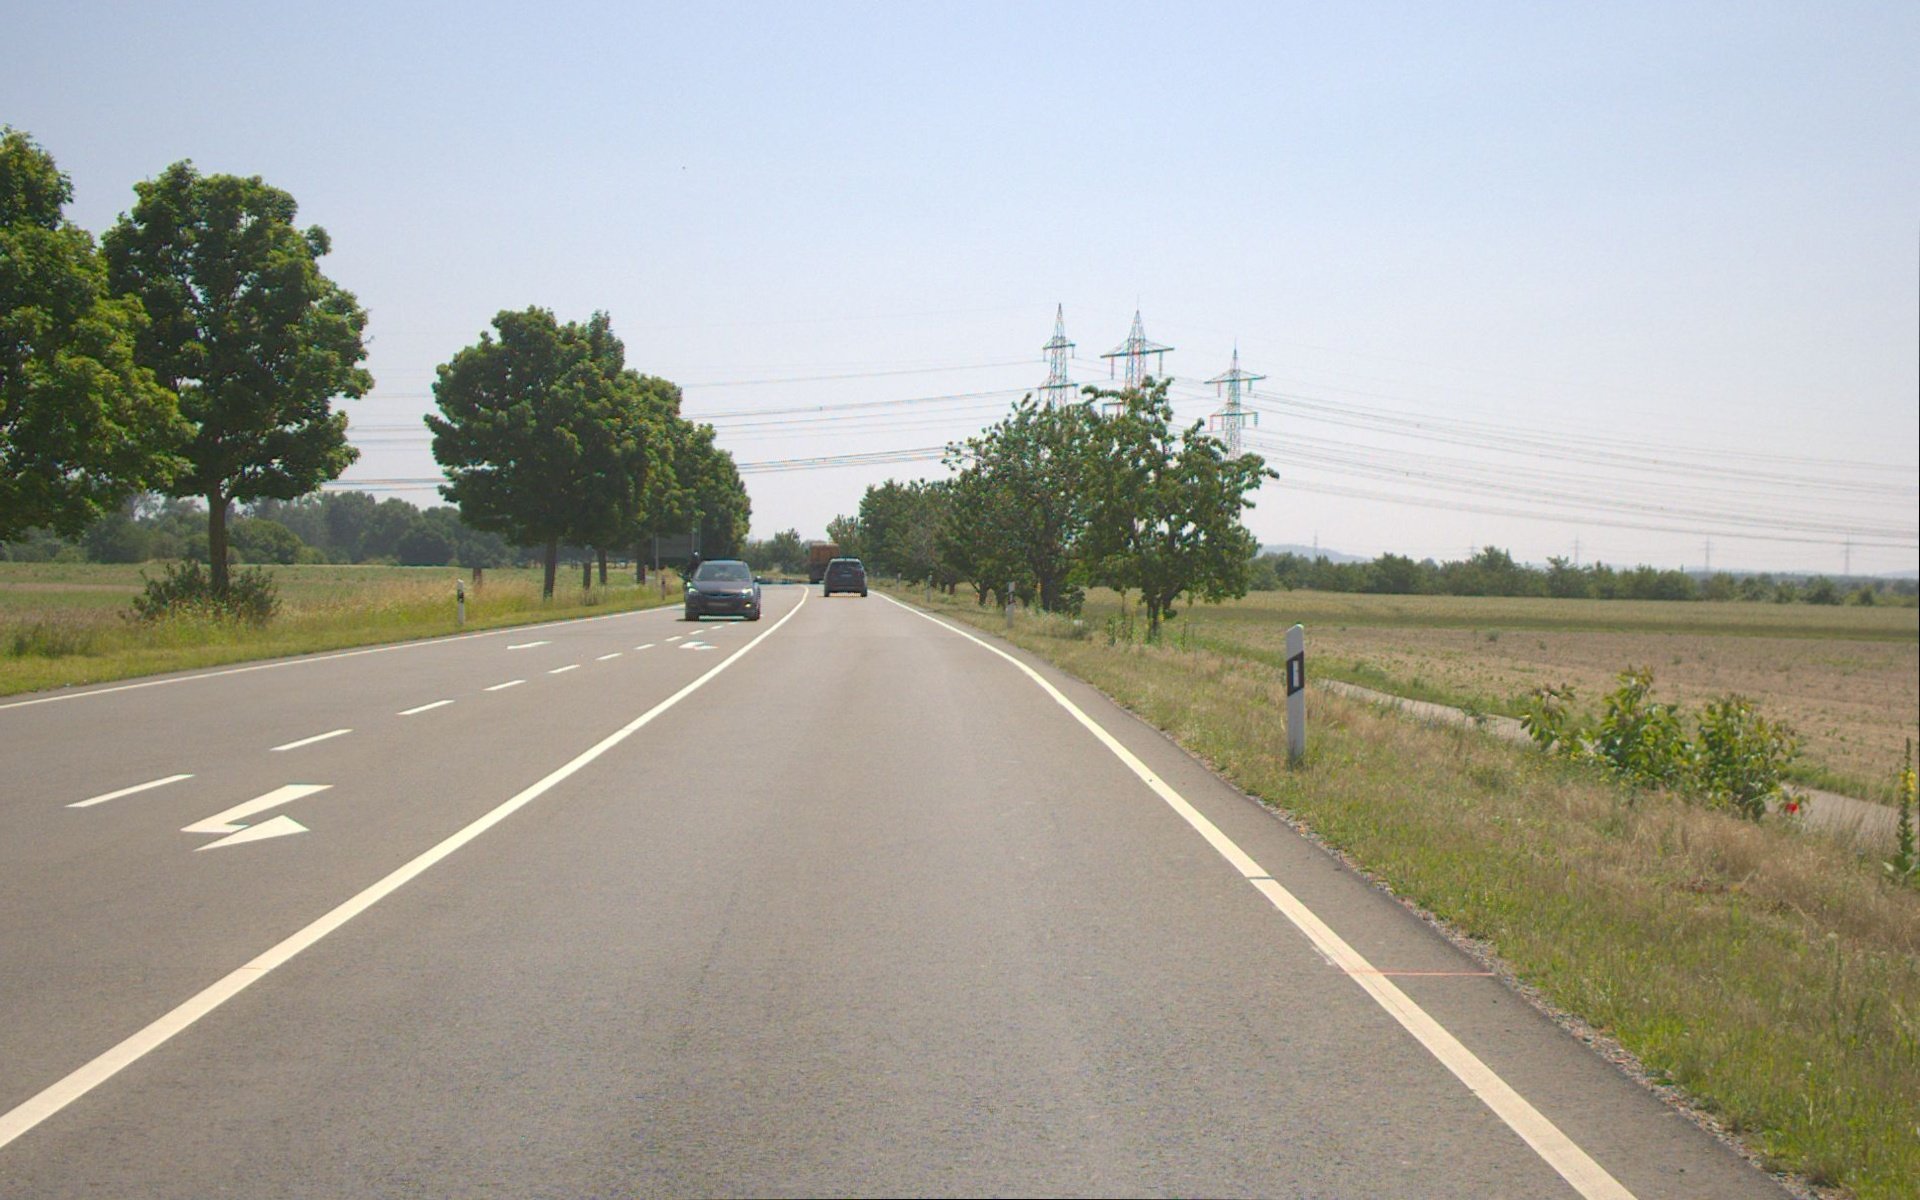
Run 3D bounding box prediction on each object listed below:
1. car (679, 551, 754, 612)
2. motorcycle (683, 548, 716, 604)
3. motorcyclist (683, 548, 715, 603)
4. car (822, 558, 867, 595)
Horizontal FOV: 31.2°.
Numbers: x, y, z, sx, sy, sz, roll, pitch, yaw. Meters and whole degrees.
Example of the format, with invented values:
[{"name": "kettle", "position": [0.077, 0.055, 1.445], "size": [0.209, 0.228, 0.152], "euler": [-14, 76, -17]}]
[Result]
[{"name": "car", "position": [-6.076, -0.488, 86.098], "size": [1.739, 1.468, 4.619], "euler": [0, 1, -2]}, {"name": "motorcycle", "position": [-8.106, -0.752, 106.971], "size": [0.888, 1.737, 2.445], "euler": [0, 1, -1]}, {"name": "motorcyclist", "position": [-8.109, -0.769, 106.835], "size": [0.853, 1.715, 1.088], "euler": [0, 1, 1]}, {"name": "car", "position": [-5.117, -1.059, 152.008], "size": [1.884, 1.513, 4.040], "euler": [4, 1, -3]}]
